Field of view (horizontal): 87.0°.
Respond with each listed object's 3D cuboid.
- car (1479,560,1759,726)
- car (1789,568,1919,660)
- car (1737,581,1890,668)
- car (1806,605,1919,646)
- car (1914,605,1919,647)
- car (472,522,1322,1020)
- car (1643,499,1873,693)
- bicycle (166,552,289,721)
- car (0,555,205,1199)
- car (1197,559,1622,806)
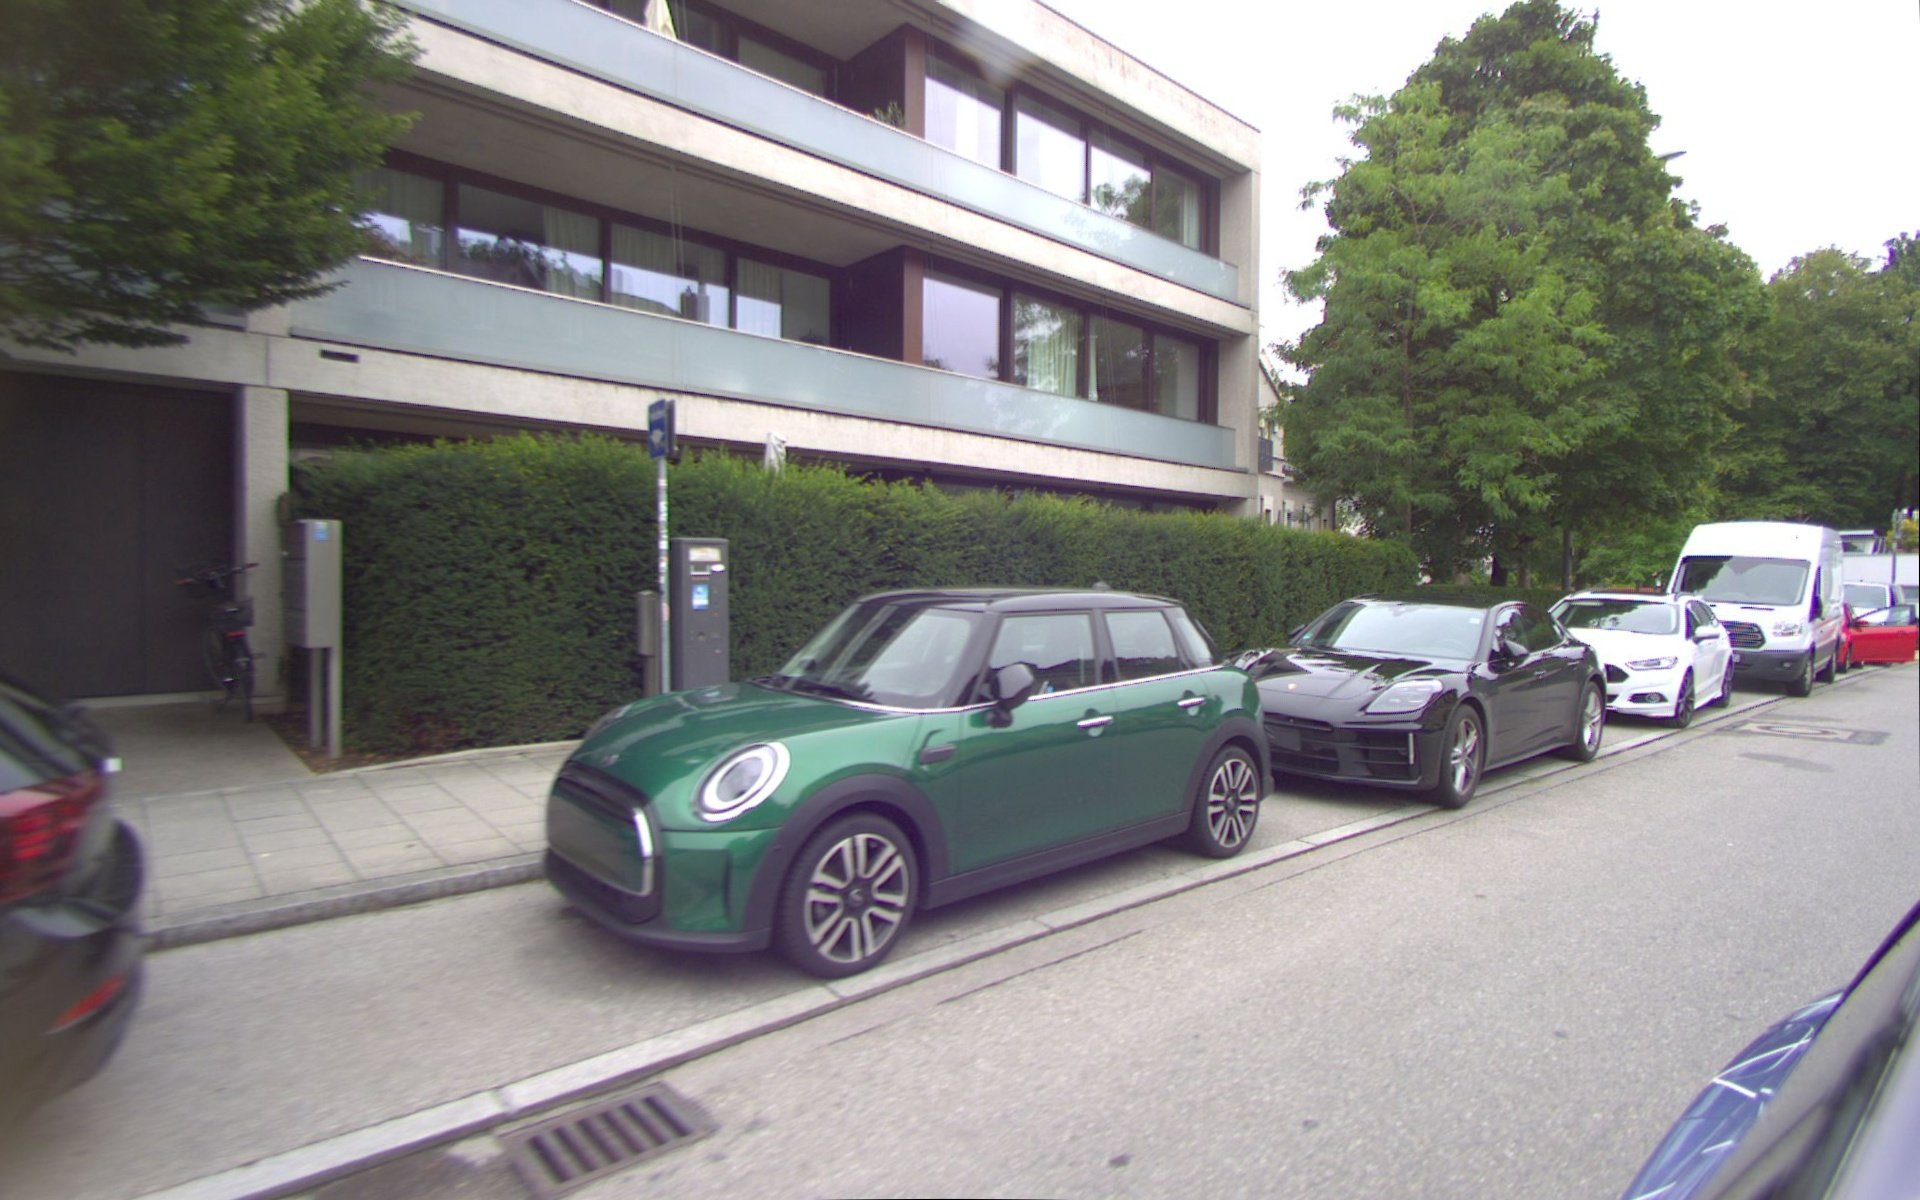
[{"bbox_3d":[8.299,0.426,12.521,4.920,1.588,1.872,1,3,-45],"label":"car"},{"bbox_3d":[21.959,0.302,24.556,4.983,1.928,1.939,0,3,-41],"label":"car"},{"bbox_3d":[18.001,0.464,21.268,4.756,1.525,1.873,0,3,-43],"label":"car"},{"bbox_3d":[35.101,0.978,38.649,1.902,1.465,4.019,2,-1,-8],"label":"car"},{"bbox_3d":[33.987,0.861,33.921,1.880,1.465,3.974,-1,-2,28],"label":"car"},{"bbox_3d":[-0.018,0.487,5.165,4.132,1.548,1.730,0,3,-42],"label":"car"},{"bbox_3d":[13.573,-0.098,17.040,5.986,2.719,2.082,1,3,-43],"label":"car"},{"bbox_3d":[-6.058,0.238,8.333,0.546,1.233,1.786,0,3,-45],"label":"bicycle"},{"bbox_3d":[-3.884,0.626,1.611,4.170,1.482,1.750,0,2,-42],"label":"car"},{"bbox_3d":[4.078,0.521,8.612,5.117,1.524,1.283,0,3,-42],"label":"car"}]
